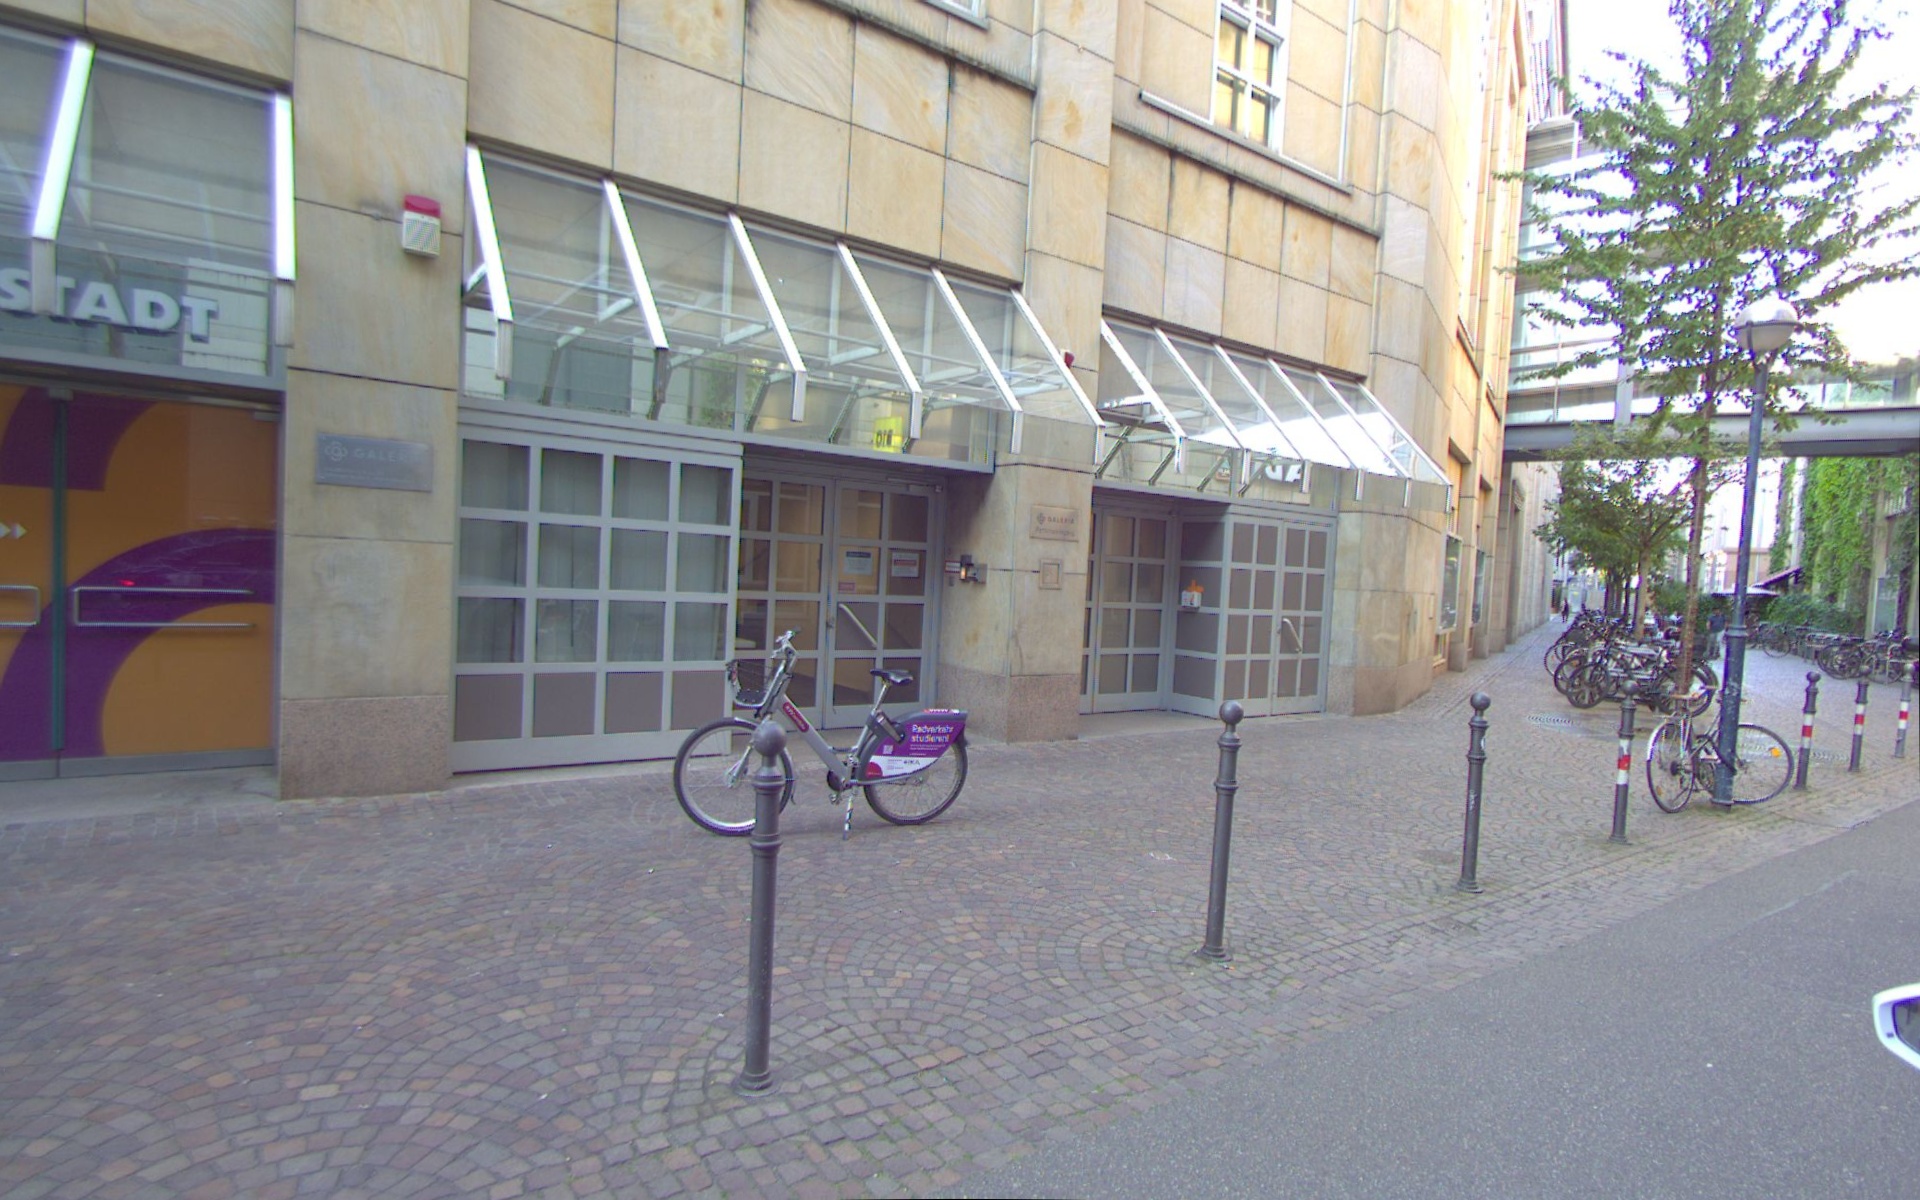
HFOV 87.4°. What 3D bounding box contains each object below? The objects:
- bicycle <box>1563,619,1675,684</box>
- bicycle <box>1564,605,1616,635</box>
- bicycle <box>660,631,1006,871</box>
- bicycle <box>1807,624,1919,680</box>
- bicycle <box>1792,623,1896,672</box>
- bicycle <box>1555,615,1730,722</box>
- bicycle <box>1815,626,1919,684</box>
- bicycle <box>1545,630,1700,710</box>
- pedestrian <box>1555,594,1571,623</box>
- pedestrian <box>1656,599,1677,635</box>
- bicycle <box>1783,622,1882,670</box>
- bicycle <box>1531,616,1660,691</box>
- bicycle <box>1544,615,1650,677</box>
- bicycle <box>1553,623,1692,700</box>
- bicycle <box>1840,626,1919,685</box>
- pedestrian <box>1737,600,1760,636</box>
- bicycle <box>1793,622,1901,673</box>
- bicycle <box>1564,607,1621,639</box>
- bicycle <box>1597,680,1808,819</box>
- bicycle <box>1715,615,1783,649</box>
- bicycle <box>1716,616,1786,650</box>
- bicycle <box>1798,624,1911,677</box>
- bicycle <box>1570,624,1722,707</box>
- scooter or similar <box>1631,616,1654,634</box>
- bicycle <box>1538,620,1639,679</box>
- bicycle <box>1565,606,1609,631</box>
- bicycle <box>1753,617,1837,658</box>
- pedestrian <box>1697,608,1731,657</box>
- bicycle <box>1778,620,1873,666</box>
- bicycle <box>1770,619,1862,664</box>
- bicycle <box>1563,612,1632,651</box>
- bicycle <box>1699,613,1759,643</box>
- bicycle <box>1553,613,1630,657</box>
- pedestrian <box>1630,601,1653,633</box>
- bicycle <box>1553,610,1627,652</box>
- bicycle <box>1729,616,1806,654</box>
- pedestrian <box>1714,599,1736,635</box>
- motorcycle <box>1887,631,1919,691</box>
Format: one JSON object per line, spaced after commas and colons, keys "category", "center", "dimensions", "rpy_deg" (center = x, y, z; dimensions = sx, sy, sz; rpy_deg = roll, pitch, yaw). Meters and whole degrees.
{"category": "bicycle", "center": [13.966, 1.072, 21.306], "dimensions": [1.888, 1.198, 0.693], "rpy_deg": [4, 2, 37]}
{"category": "bicycle", "center": [28.258, 0.879, 45.047], "dimensions": [1.888, 1.198, 0.693], "rpy_deg": [4, 2, 37]}
{"category": "bicycle", "center": [-0.701, 0.771, 5.528], "dimensions": [1.750, 1.127, 0.692], "rpy_deg": [2, 2, -22]}
{"category": "bicycle", "center": [21.368, 1.200, 23.723], "dimensions": [1.967, 1.198, 0.800], "rpy_deg": [2, 1, 35]}
{"category": "bicycle", "center": [23.530, 1.252, 26.787], "dimensions": [1.967, 1.198, 0.692], "rpy_deg": [2, 1, 35]}
{"category": "bicycle", "center": [9.392, 0.903, 13.896], "dimensions": [1.887, 1.278, 0.806], "rpy_deg": [4, 2, 34]}
{"category": "bicycle", "center": [20.867, 1.237, 22.924], "dimensions": [1.967, 1.198, 0.694], "rpy_deg": [2, 1, 35]}
{"category": "bicycle", "center": [10.076, 1.034, 15.342], "dimensions": [1.887, 1.007, 0.694], "rpy_deg": [4, 2, 34]}
{"category": "pedestrian", "center": [38.520, 0.526, 64.195], "dimensions": [0.764, 1.828, 0.632], "rpy_deg": [3, 2, 34]}
{"category": "pedestrian", "center": [36.144, 0.864, 51.395], "dimensions": [0.754, 1.828, 0.775], "rpy_deg": [3, 2, 32]}
{"category": "bicycle", "center": [23.982, 1.250, 27.658], "dimensions": [1.967, 1.198, 0.692], "rpy_deg": [2, 1, 35]}
{"category": "bicycle", "center": [11.589, 0.944, 18.345], "dimensions": [1.888, 1.198, 0.693], "rpy_deg": [4, 2, 37]}
{"category": "bicycle", "center": [14.141, 0.995, 22.321], "dimensions": [1.888, 1.198, 0.693], "rpy_deg": [4, 2, 37]}
{"category": "bicycle", "center": [11.319, 1.020, 17.189], "dimensions": [1.888, 1.116, 0.693], "rpy_deg": [4, 2, 37]}
{"category": "bicycle", "center": [20.560, 1.216, 21.891], "dimensions": [1.967, 1.198, 0.694], "rpy_deg": [2, 1, 35]}
{"category": "pedestrian", "center": [41.039, 0.933, 52.290], "dimensions": [0.764, 1.828, 0.765], "rpy_deg": [4, 2, 34]}
{"category": "bicycle", "center": [22.900, 1.203, 25.987], "dimensions": [1.967, 1.198, 0.800], "rpy_deg": [2, 1, 35]}
{"category": "bicycle", "center": [26.024, 0.943, 41.361], "dimensions": [1.888, 1.198, 0.693], "rpy_deg": [4, 2, 37]}
{"category": "bicycle", "center": [5.898, 1.149, 7.971], "dimensions": [1.670, 0.979, 0.504], "rpy_deg": [2, 2, -22]}
{"category": "bicycle", "center": [29.992, 1.211, 38.224], "dimensions": [1.967, 1.198, 0.692], "rpy_deg": [2, 1, 35]}
{"category": "bicycle", "center": [29.510, 1.222, 37.519], "dimensions": [1.967, 1.198, 0.692], "rpy_deg": [2, 1, 35]}
{"category": "bicycle", "center": [22.003, 1.219, 24.766], "dimensions": [1.967, 1.198, 0.800], "rpy_deg": [2, 1, 35]}
{"category": "bicycle", "center": [10.806, 1.005, 15.887], "dimensions": [1.887, 1.116, 0.694], "rpy_deg": [4, 2, 34]}
{"category": "scooter or similar", "center": [35.065, 1.286, 51.624], "dimensions": [0.879, 0.854, 0.909], "rpy_deg": [3, 2, 32]}
{"category": "bicycle", "center": [14.631, 1.135, 23.406], "dimensions": [1.888, 1.198, 0.693], "rpy_deg": [4, 2, 37]}
{"category": "bicycle", "center": [33.639, 0.977, 53.920], "dimensions": [1.888, 1.198, 0.693], "rpy_deg": [4, 2, 37]}
{"category": "bicycle", "center": [26.564, 1.183, 31.998], "dimensions": [1.967, 1.198, 0.692], "rpy_deg": [2, 1, 35]}
{"category": "pedestrian", "center": [24.399, 1.028, 32.513], "dimensions": [0.737, 1.529, 0.636], "rpy_deg": [3, 2, 32]}
{"category": "bicycle", "center": [24.716, 1.201, 28.736], "dimensions": [1.967, 1.198, 0.692], "rpy_deg": [2, 1, 35]}
{"category": "bicycle", "center": [25.308, 1.210, 29.737], "dimensions": [1.967, 1.198, 0.692], "rpy_deg": [2, 1, 35]}
{"category": "bicycle", "center": [21.638, 1.053, 34.104], "dimensions": [1.888, 1.198, 0.693], "rpy_deg": [4, 2, 37]}
{"category": "bicycle", "center": [32.452, 1.172, 42.427], "dimensions": [1.967, 1.198, 0.692], "rpy_deg": [2, 1, 35]}
{"category": "bicycle", "center": [19.449, 1.058, 30.958], "dimensions": [1.888, 1.198, 0.693], "rpy_deg": [4, 2, 37]}
{"category": "pedestrian", "center": [35.576, 0.879, 52.417], "dimensions": [0.879, 1.661, 0.909], "rpy_deg": [3, 2, 32]}
{"category": "bicycle", "center": [19.883, 0.958, 31.729], "dimensions": [1.888, 1.198, 0.693], "rpy_deg": [4, 2, 37]}
{"category": "bicycle", "center": [27.319, 1.180, 34.033], "dimensions": [1.967, 1.198, 0.692], "rpy_deg": [2, 1, 35]}
{"category": "pedestrian", "center": [40.422, 0.882, 53.086], "dimensions": [0.764, 1.828, 0.765], "rpy_deg": [4, 2, 34]}
{"category": "motorcycle", "center": [19.794, 1.248, 20.111], "dimensions": [1.724, 1.171, 0.592], "rpy_deg": [2, 1, 37]}
